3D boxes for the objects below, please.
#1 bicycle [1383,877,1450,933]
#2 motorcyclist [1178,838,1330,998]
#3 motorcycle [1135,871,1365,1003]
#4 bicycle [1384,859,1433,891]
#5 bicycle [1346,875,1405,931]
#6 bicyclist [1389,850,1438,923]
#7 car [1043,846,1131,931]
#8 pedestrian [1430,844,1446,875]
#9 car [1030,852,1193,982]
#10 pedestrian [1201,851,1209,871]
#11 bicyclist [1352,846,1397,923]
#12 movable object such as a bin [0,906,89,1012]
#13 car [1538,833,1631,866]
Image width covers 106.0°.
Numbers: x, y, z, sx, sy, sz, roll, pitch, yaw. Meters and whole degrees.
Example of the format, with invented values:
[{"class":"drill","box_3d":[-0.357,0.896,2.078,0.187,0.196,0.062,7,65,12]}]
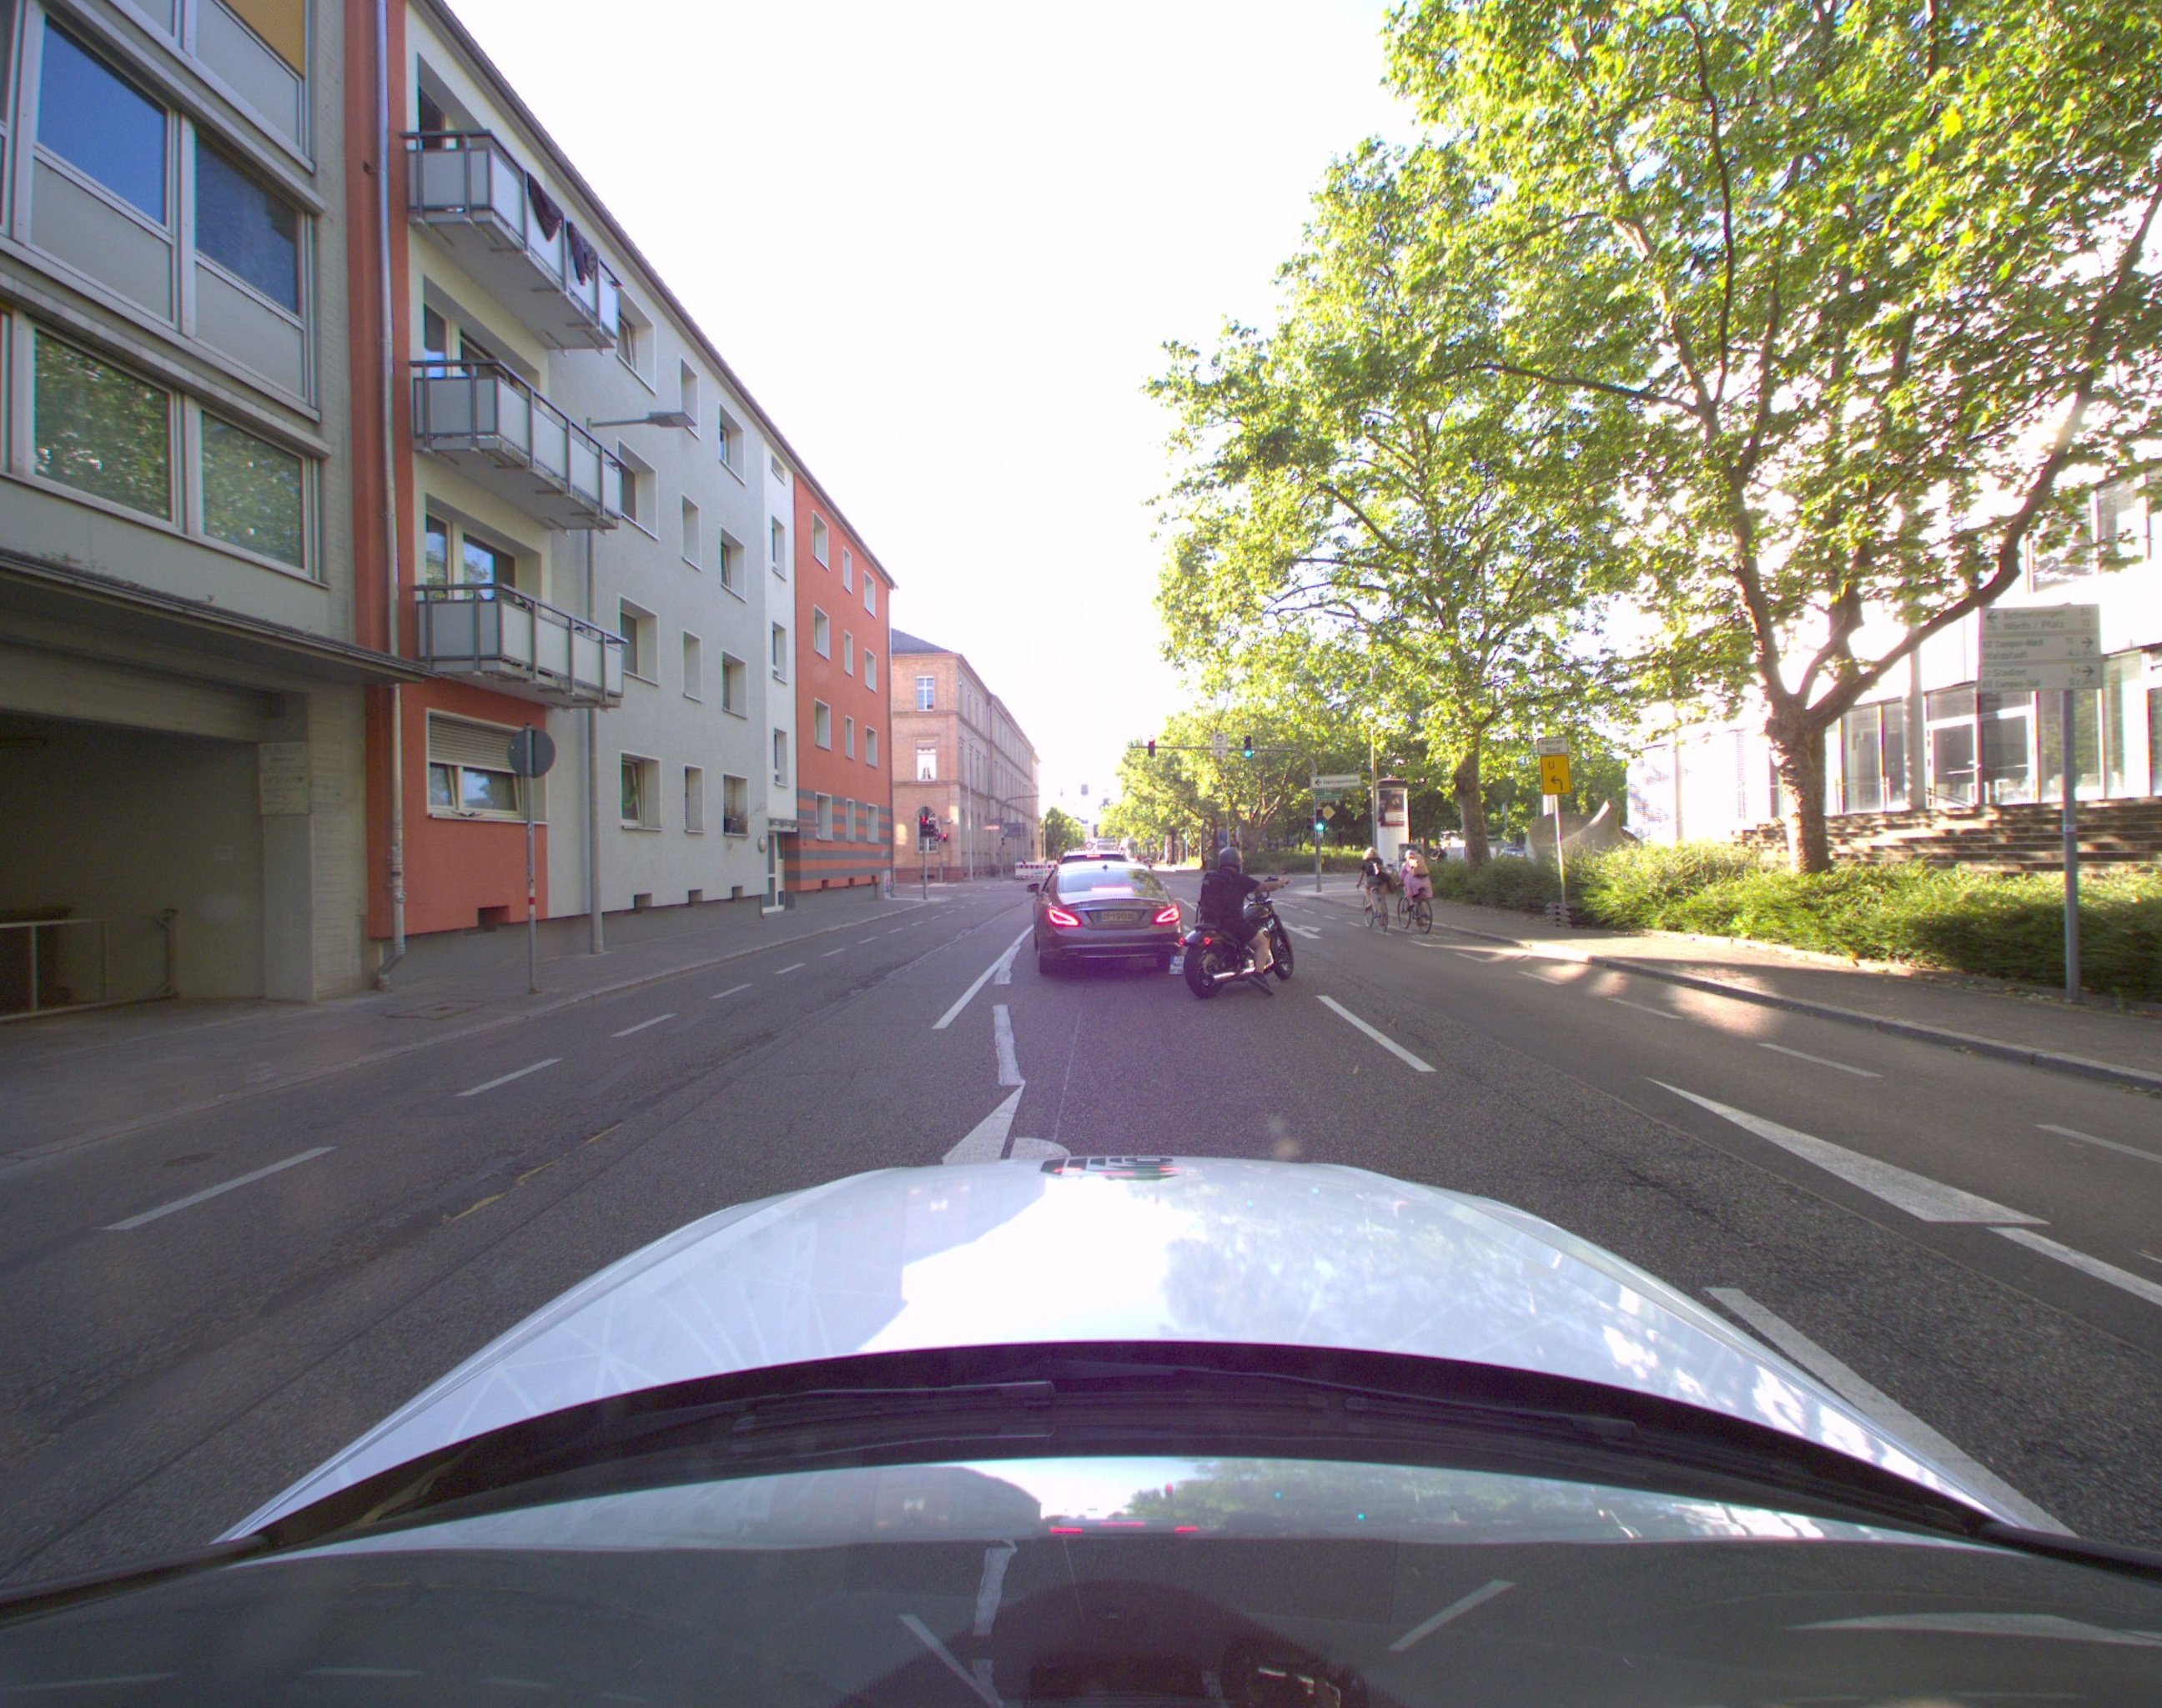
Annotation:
[{"class":"bicycle","box_3d":[6.551,0.973,15.995,0.598,0.985,1.882,1,0,2]},{"class":"motorcyclist","box_3d":[1.913,0.644,9.028,1.208,1.613,1.104,-1,0,-37]},{"class":"motorcycle","box_3d":[1.952,0.835,9.143,2.677,1.204,0.999,-1,0,-37]},{"class":"bicycle","box_3d":[10.980,0.709,27.344,1.411,1.037,0.538,-1,0,-2]},{"class":"bicycle","box_3d":[5.925,0.959,16.472,0.608,1.026,1.732,0,0,2]},{"class":"bicyclist","box_3d":[6.552,0.621,16.085,0.598,1.402,0.931,1,0,2]},{"class":"car","box_3d":[0.138,0.670,17.654,1.676,1.625,3.841,-1,0,1]},{"class":"pedestrian","box_3d":[20.995,0.315,47.912,0.617,1.784,0.631,-1,0,4]},{"class":"car","box_3d":[0.229,0.744,11.755,1.818,1.476,4.346,-1,0,-5]},{"class":"pedestrian","box_3d":[10.453,0.605,68.501,0.557,1.678,0.565,-1,0,1]},{"class":"bicyclist","box_3d":[5.923,0.596,16.451,0.608,1.516,0.890,0,0,2]},{"class":"movable object such as a bin","box_3d":[-11.255,1.095,8.636,0.584,1.040,0.712,-1,0,2]},{"class":"car","box_3d":[28.094,-0.245,45.569,3.975,1.784,2.004,-1,0,7]}]
